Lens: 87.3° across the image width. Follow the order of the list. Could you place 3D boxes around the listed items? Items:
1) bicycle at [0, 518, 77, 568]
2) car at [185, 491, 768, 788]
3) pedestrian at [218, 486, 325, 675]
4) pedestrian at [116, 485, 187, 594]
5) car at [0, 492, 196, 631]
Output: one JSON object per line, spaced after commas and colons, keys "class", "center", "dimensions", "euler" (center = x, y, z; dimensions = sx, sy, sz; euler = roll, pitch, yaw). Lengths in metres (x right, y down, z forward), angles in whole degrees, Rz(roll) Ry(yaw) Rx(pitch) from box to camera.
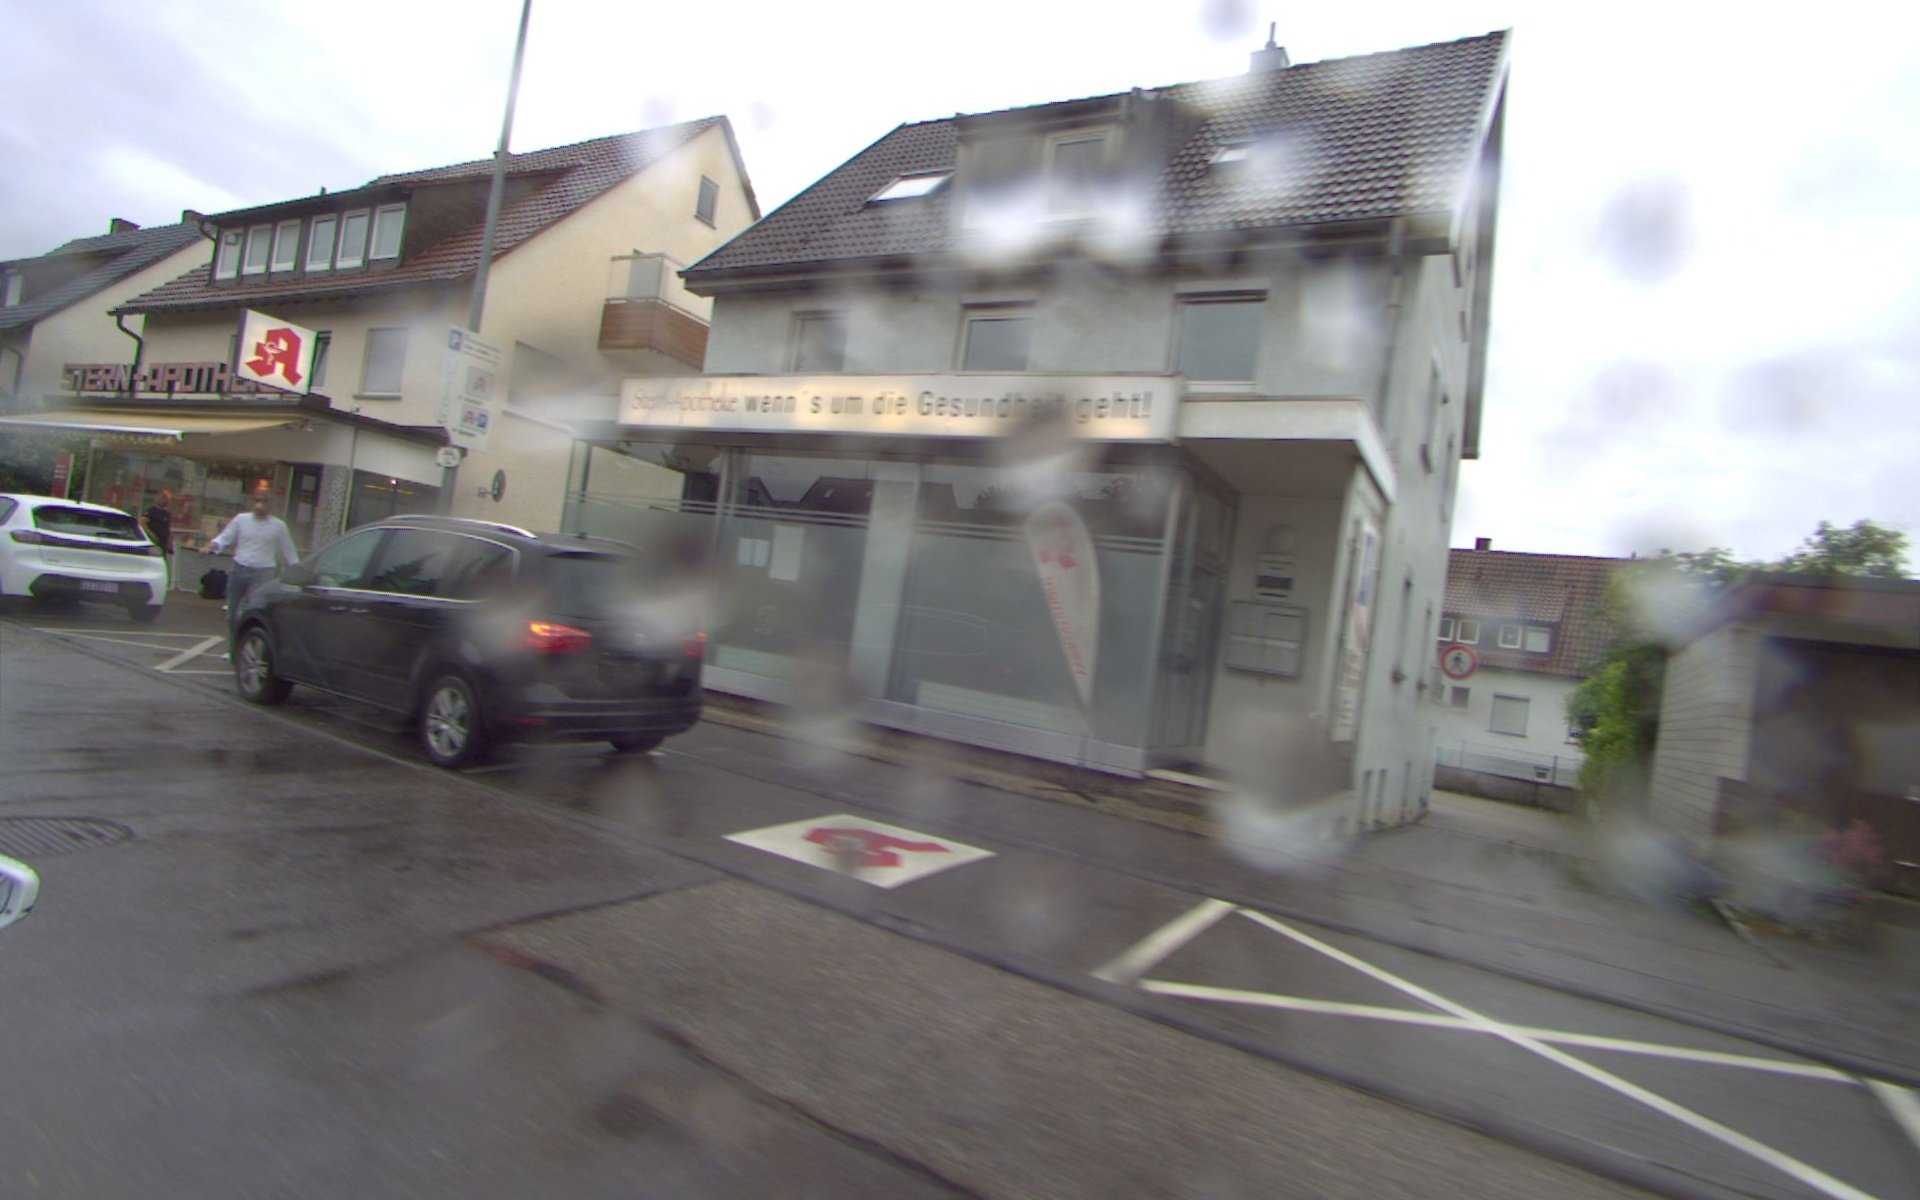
{"class": "bicycle", "center": [-20.207, -1.252, 21.732], "dimensions": [1.638, 0.945, 0.616], "euler": [5, 2, -40]}
{"class": "car", "center": [-4.174, 0.177, 8.393], "dimensions": [4.883, 1.716, 2.037], "euler": [6, -1, 33]}
{"class": "pedestrian", "center": [-7.458, -0.200, 10.928], "dimensions": [0.616, 1.913, 0.644], "euler": [8, -1, -23]}
{"class": "pedestrian", "center": [-13.422, -0.992, 16.711], "dimensions": [0.508, 1.697, 0.551], "euler": [8, -1, -6]}
{"class": "car", "center": [-12.234, -0.617, 13.383], "dimensions": [4.133, 1.465, 1.818], "euler": [7, 0, 31]}
